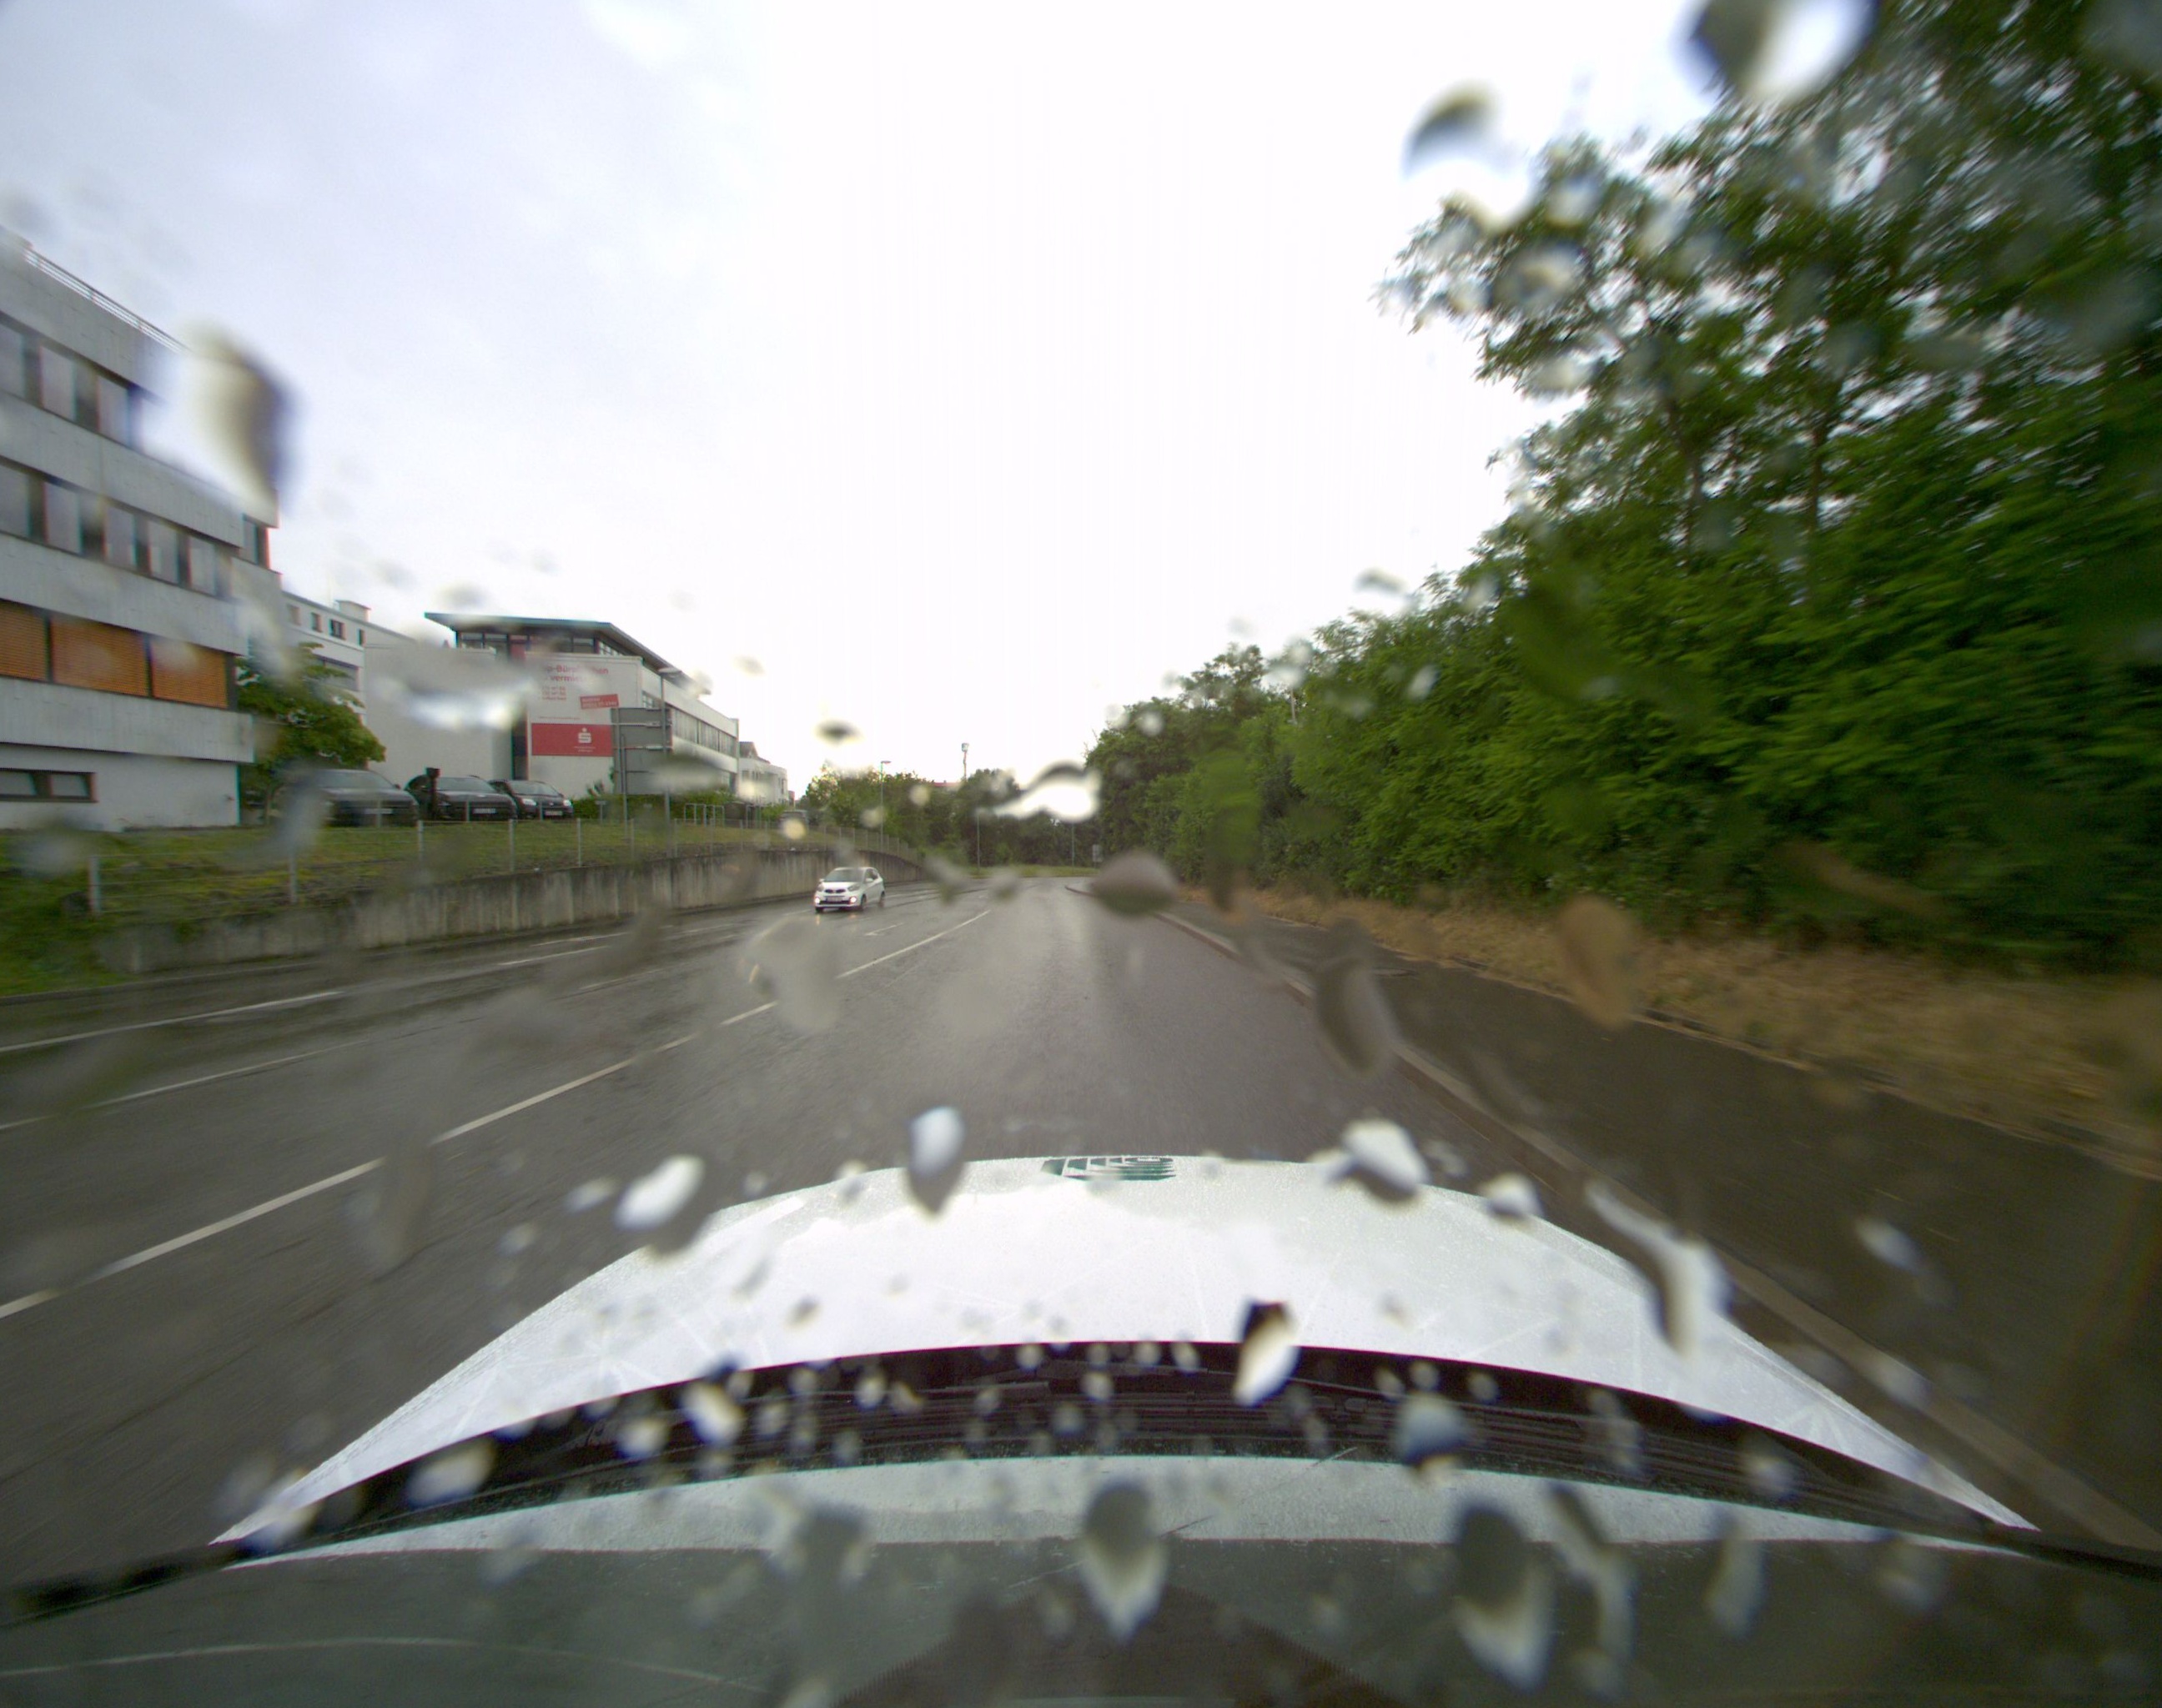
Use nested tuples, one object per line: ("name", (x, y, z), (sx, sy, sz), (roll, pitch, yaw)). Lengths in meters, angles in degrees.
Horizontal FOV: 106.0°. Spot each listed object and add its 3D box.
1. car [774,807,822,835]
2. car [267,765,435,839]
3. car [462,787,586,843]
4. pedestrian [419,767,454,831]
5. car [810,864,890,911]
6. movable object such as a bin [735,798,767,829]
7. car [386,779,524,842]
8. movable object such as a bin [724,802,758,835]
("car", (-17.270, -1.972, 49.843), (1.824, 1.442, 3.992), (1, -1, -5))
("car", (-18.018, -1.209, 20.085), (3.949, 1.586, 1.914), (0, -1, 30))
("car", (-17.941, -1.191, 26.213), (3.948, 1.586, 1.914), (0, -1, 34))
("pedestrian", (-16.220, -1.371, 20.500), (0.514, 1.550, 0.505), (-1, 0, 20))
("car", (-7.948, 1.121, 28.367), (1.647, 1.429, 3.793), (-1, 1, 0))
("movable object such as a bin", (-16.332, -1.984, 40.328), (1.082, 1.437, 1.444), (1, -1, -5))
("car", (-17.861, -1.162, 23.199), (3.948, 1.586, 1.914), (0, -1, 34))
("movable object such as a bin", (-16.207, -1.683, 38.847), (1.082, 1.437, 1.444), (1, -1, -5))
